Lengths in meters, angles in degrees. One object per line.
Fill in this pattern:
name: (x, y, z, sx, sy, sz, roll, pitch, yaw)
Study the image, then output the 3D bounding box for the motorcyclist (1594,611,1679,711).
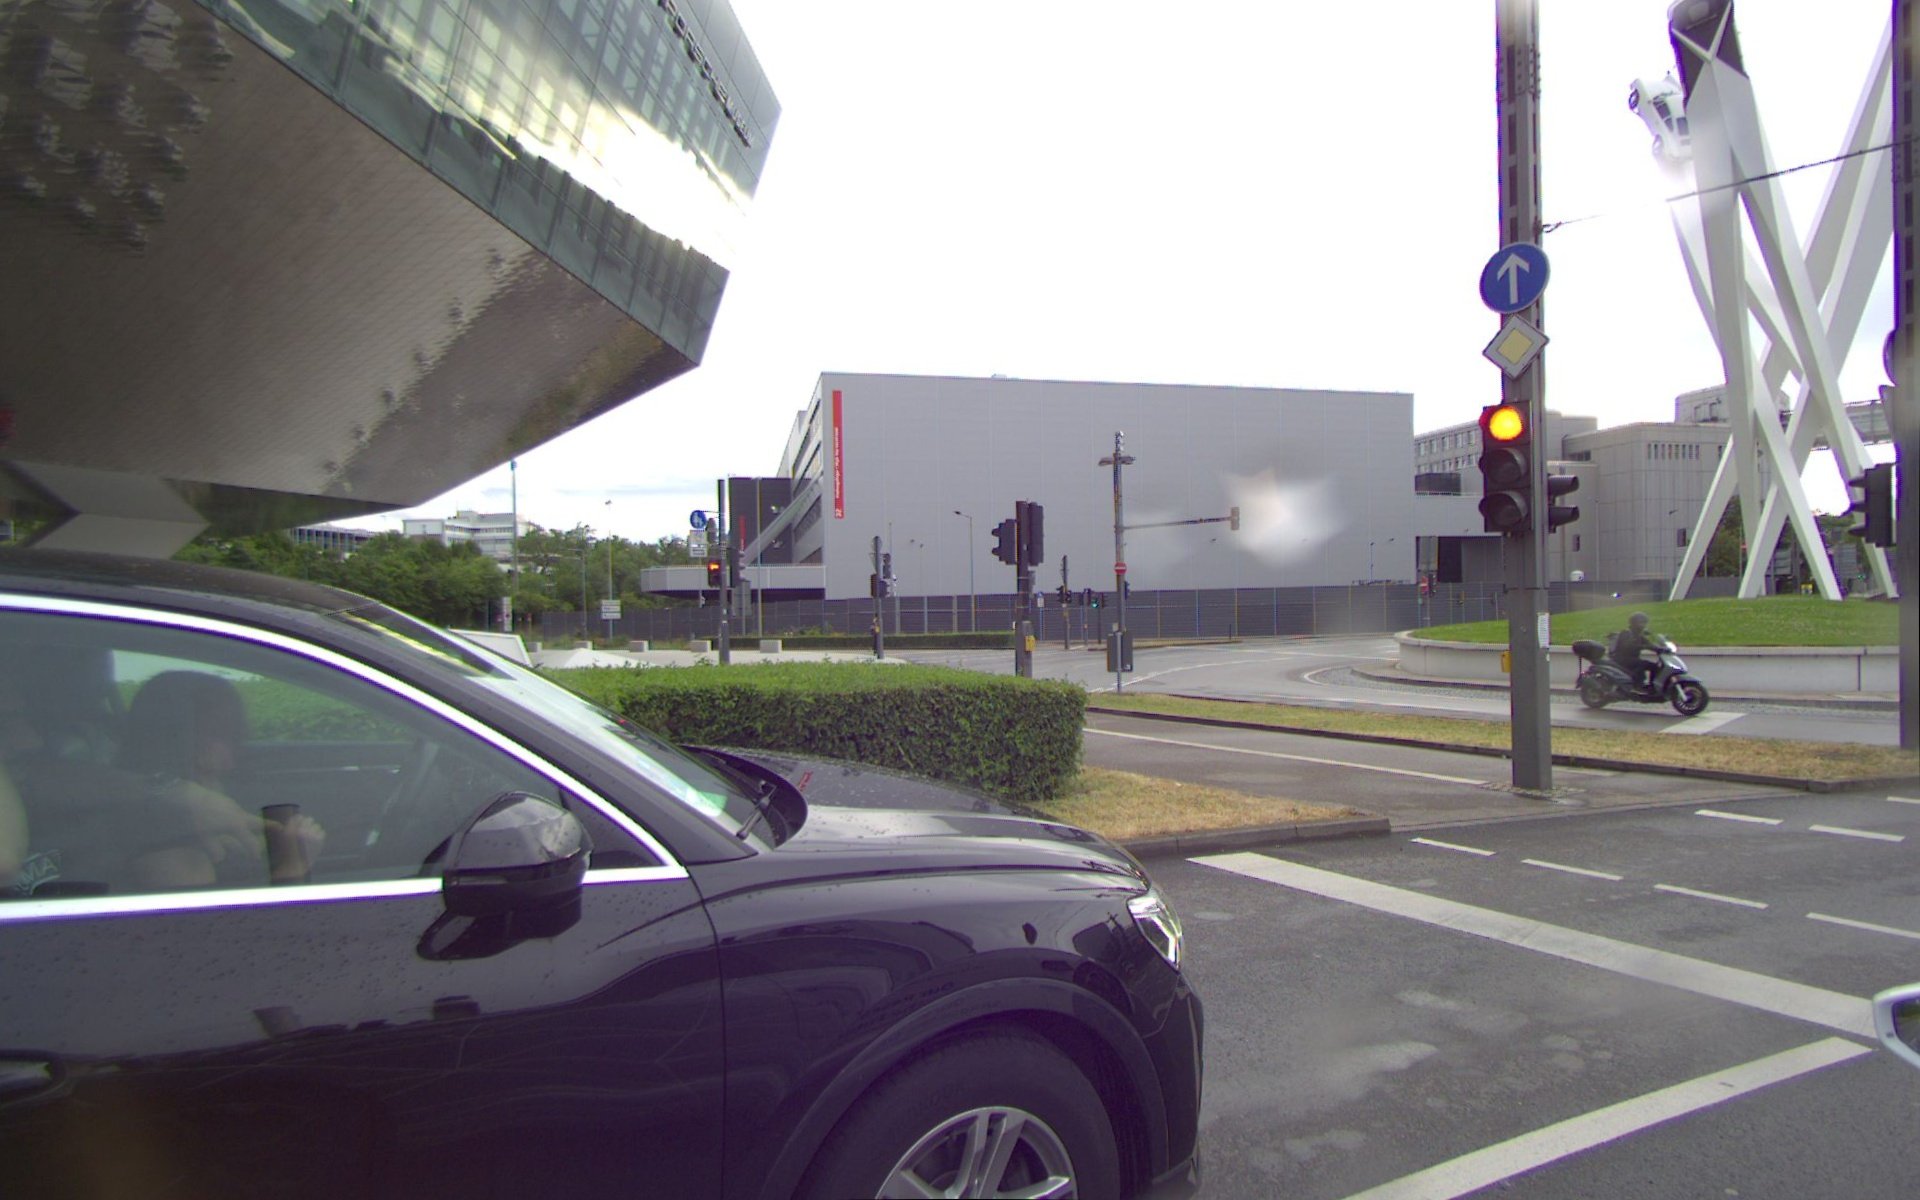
motorcyclist: (11.593, 1.014, 17.224, 0.662, 1.644, 1.027, 0, 0, -29)

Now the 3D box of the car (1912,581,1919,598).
car: (117.043, -1.238, 121.300, 3.953, 2.040, 1.984, 2, 0, -30)

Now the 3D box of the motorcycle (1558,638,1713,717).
motorcycle: (11.582, 1.294, 17.318, 0.445, 1.208, 2.247, 0, -1, -31)

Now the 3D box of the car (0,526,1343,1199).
car: (-1.488, 0.685, 1.796, 4.344, 1.538, 1.743, 2, 0, -31)

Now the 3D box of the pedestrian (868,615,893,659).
pedestrian: (-3.402, 1.567, 43.004, 0.638, 1.827, 0.851, 0, 0, 35)
